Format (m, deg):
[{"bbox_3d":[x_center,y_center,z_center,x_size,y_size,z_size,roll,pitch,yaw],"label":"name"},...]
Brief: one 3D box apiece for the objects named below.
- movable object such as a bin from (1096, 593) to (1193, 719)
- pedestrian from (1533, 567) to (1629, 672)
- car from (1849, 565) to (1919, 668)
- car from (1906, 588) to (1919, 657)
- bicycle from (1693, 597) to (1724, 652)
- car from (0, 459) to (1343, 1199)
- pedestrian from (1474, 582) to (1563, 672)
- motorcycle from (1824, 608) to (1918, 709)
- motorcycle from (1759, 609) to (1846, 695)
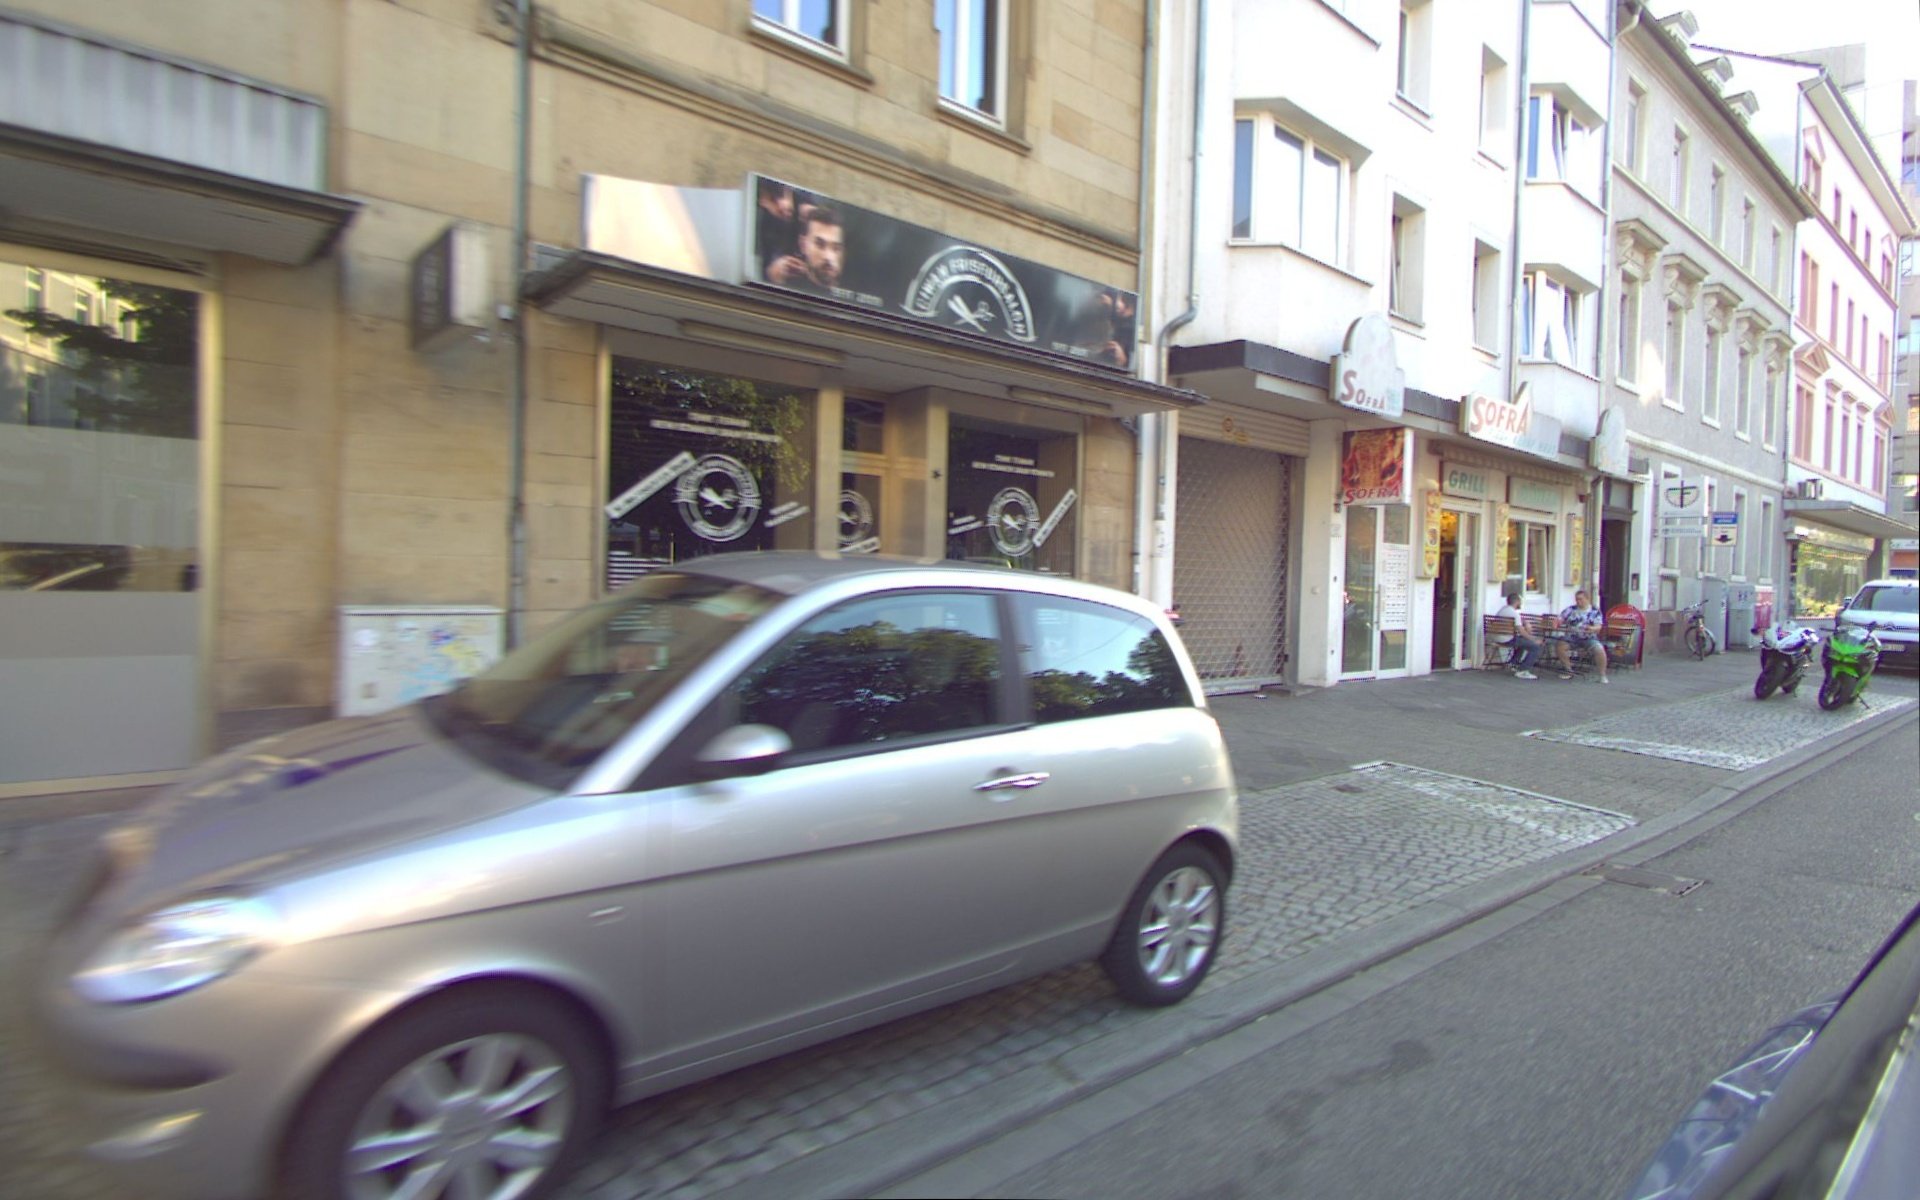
[{"bbox_3d":[1.708,0.494,9.377,0.652,1.098,0.597,1,0,-39],"label":"movable object such as a bin"},{"bbox_3d":[9.323,0.269,15.197,0.975,1.505,0.957,1,0,-40],"label":"pedestrian"},{"bbox_3d":[18.941,0.304,19.743,4.228,1.858,1.714,0,0,-39],"label":"car"},{"bbox_3d":[23.656,0.531,23.774,3.814,1.563,1.670,0,1,-40],"label":"car"},{"bbox_3d":[15.221,0.473,20.604,0.453,1.024,1.691,1,2,35],"label":"bicycle"},{"bbox_3d":[-0.601,0.528,3.418,3.926,1.580,1.686,1,3,-38],"label":"car"},{"bbox_3d":[8.269,0.385,15.002,0.774,1.234,0.745,3,2,-10],"label":"pedestrian"},{"bbox_3d":[12.267,0.743,13.609,2.171,1.215,0.589,0,4,-41],"label":"motorcycle"},{"bbox_3d":[12.185,0.711,14.613,2.171,1.137,0.589,0,1,-41],"label":"motorcycle"}]
